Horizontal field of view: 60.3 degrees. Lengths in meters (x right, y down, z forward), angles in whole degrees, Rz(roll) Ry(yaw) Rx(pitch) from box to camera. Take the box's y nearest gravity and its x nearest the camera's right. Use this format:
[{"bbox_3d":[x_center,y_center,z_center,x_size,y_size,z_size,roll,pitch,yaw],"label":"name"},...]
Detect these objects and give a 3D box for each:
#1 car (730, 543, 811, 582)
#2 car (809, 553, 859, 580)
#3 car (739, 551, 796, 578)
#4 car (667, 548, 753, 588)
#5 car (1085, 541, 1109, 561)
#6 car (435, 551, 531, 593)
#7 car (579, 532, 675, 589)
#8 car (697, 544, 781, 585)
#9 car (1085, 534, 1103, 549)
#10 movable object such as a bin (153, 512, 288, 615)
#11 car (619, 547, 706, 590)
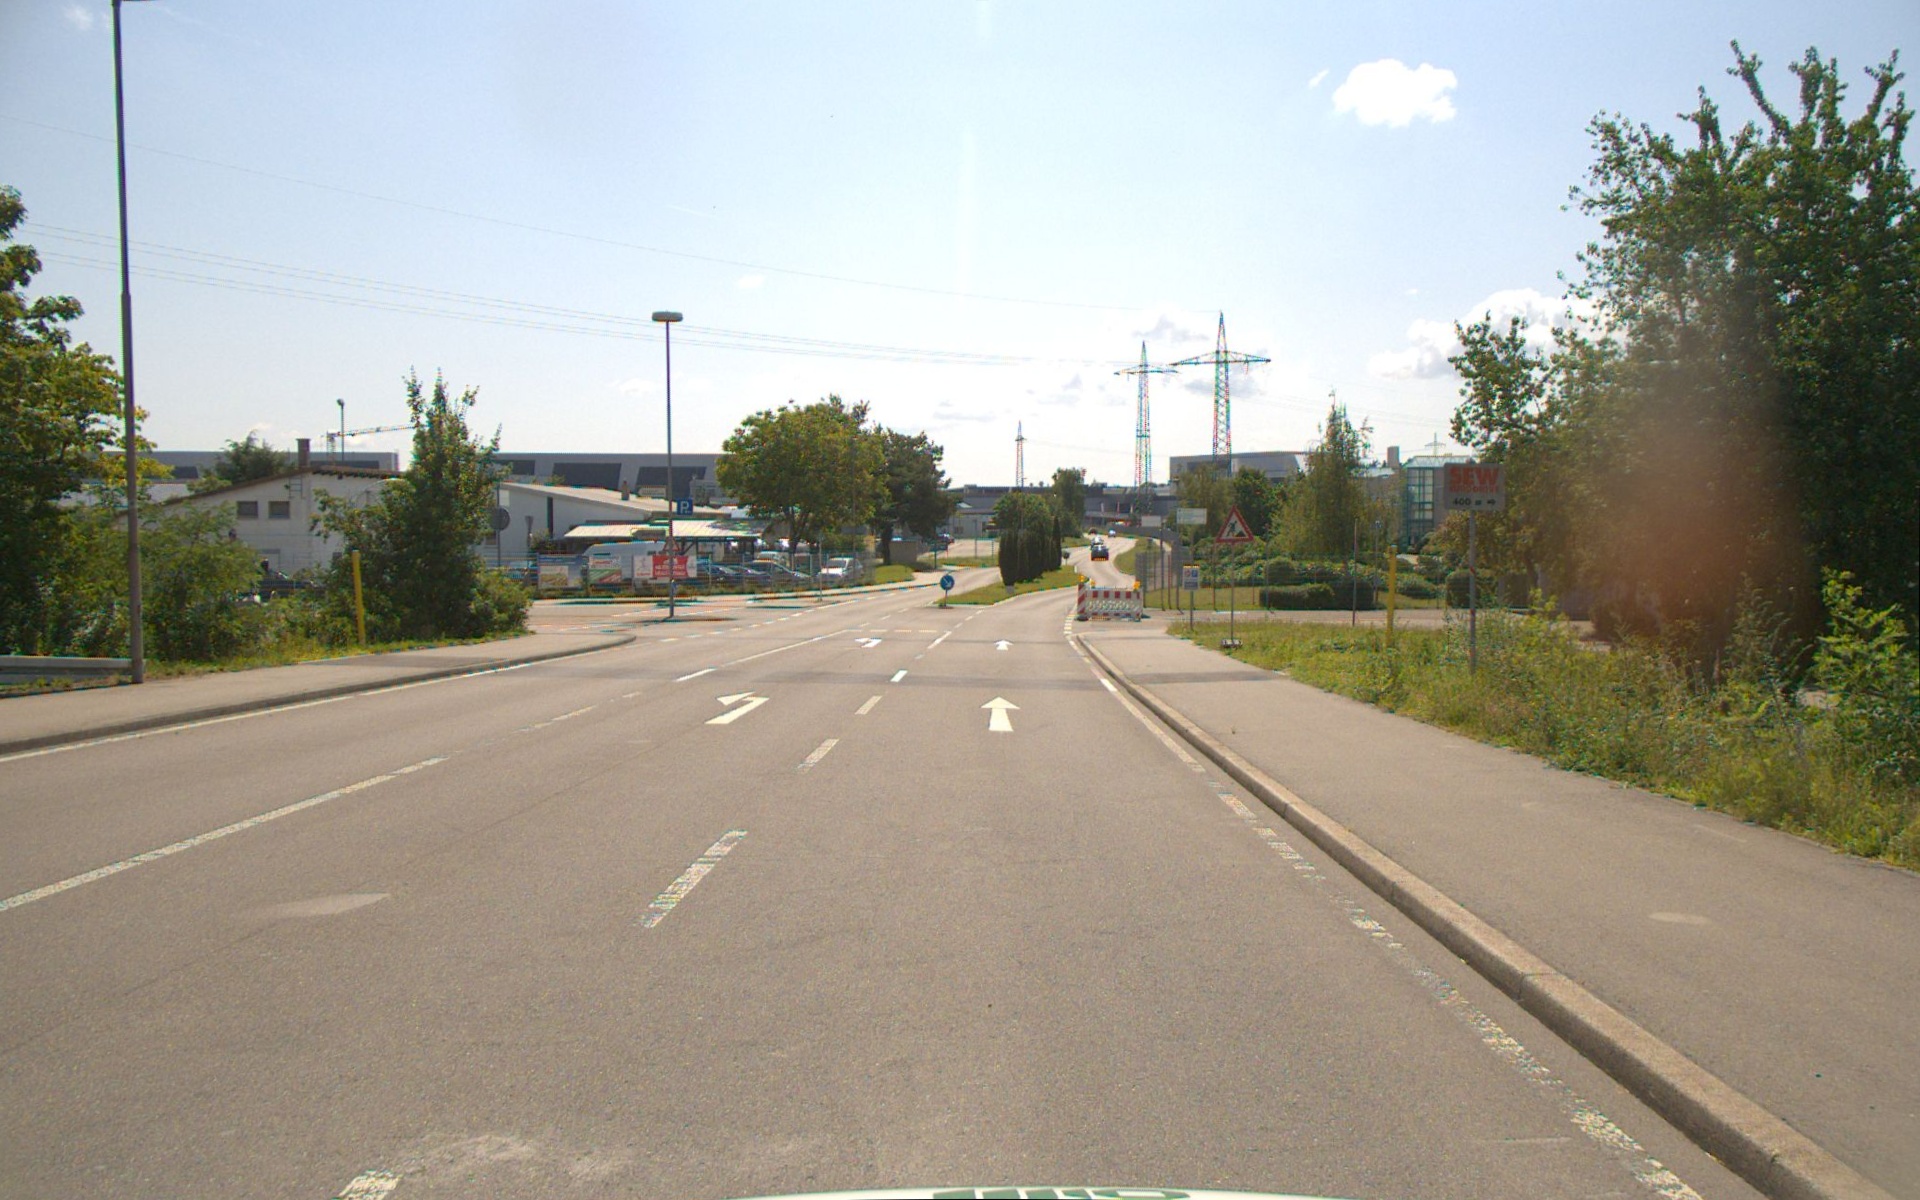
[{"bbox_3d":[-10.294,-2.059,89.963,3.907,1.936,2.000,2,3,23],"label":"car"},{"bbox_3d":[-7.352,-1.983,96.834,1.790,1.544,3.591,1,2,16],"label":"car"},{"bbox_3d":[-13.631,-2.517,117.052,3.913,1.882,1.831,0,2,-9],"label":"car"},{"bbox_3d":[-12.513,-1.634,82.873,3.914,1.811,1.996,2,4,31],"label":"car"},{"bbox_3d":[14.014,-5.024,169.670,2.224,1.980,4.668,3,2,4],"label":"car"},{"bbox_3d":[-20.910,-1.258,72.480,3.917,1.682,1.995,3,4,33],"label":"car"},{"bbox_3d":[-15.878,-1.903,78.879,4.270,2.654,1.996,1,1,30],"label":"car"},{"bbox_3d":[-11.394,-1.845,85.178,3.912,1.936,1.997,2,3,29],"label":"car"},{"bbox_3d":[19.662,-8.618,241.703,2.438,2.048,4.670,1,3,7],"label":"car"},{"bbox_3d":[-20.809,-0.949,46.822,2.035,2.746,5.724,0,0,-9],"label":"movable object such as a bin"},{"bbox_3d":[-14.489,-1.572,80.612,3.917,1.936,1.995,3,4,33],"label":"car"}]
